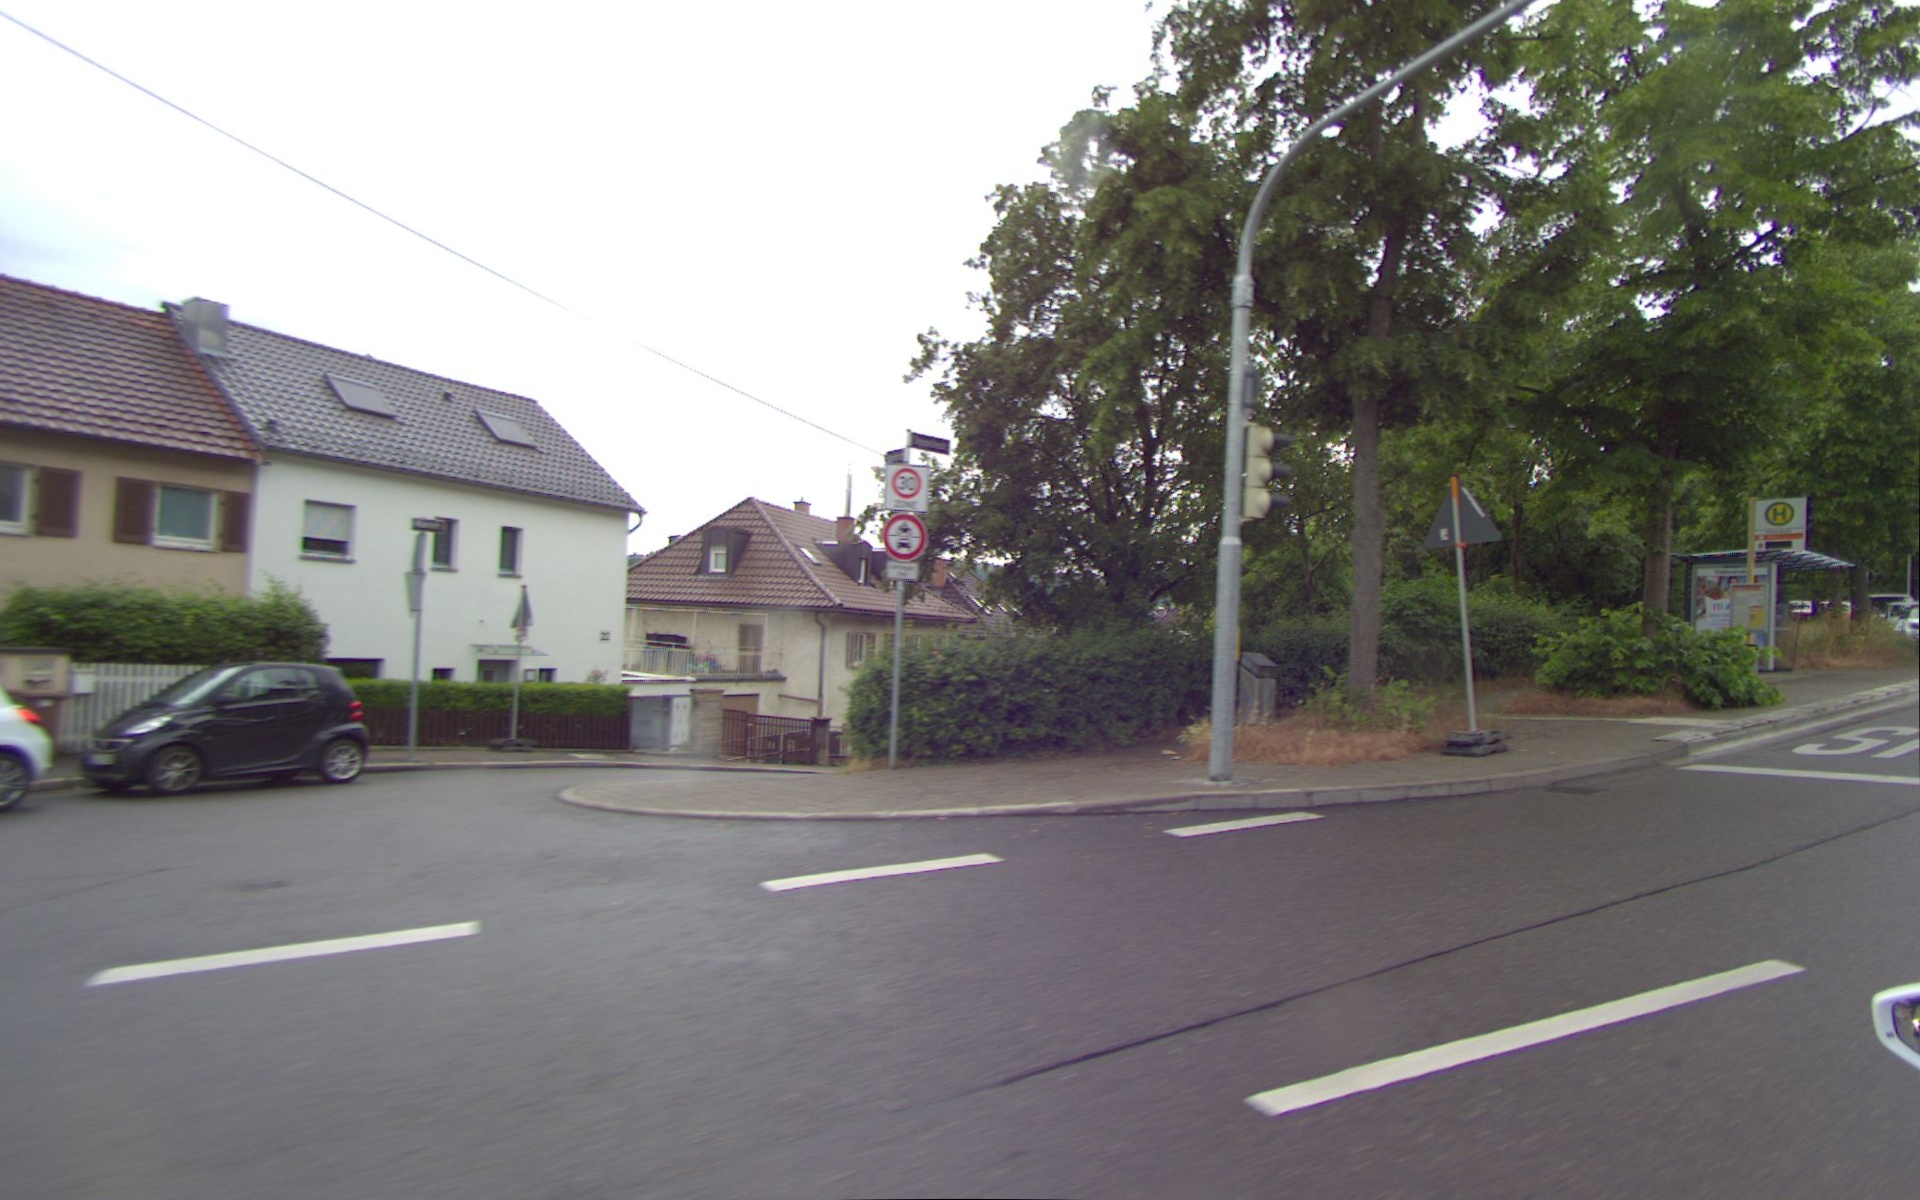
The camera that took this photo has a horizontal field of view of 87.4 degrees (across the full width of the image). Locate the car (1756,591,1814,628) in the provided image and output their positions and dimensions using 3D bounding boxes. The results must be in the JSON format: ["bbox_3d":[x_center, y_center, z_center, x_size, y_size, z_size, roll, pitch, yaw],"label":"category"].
[{"bbox_3d":[48.490,0.546,59.134,1.965,2.040,3.992,-2,-1,30],"label":"car"}]

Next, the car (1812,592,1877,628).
[{"bbox_3d":[46.366,0.515,52.737,1.967,1.750,3.989,-3,-2,33],"label":"car"}]

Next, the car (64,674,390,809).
[{"bbox_3d":[-9.038,1.672,12.584,1.538,1.448,2.913,-3,-5,32],"label":"car"}]

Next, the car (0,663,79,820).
[{"bbox_3d":[-10.632,1.373,8.861,1.656,1.528,4.013,-3,-3,18],"label":"car"}]

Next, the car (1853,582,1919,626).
[{"bbox_3d":[41.679,0.188,45.178,1.813,1.868,3.888,-2,-1,36],"label":"car"}]

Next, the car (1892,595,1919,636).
[{"bbox_3d":[35.205,0.538,36.645,1.655,1.445,3.978,-2,-1,42],"label":"car"}]

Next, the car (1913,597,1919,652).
[{"bbox_3d":[27.433,0.624,27.499,3.970,1.445,1.658,-1,-1,-42],"label":"car"}]

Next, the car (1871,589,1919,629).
[{"bbox_3d":[38.635,0.349,41.065,1.653,1.572,3.887,-2,-1,37],"label":"car"}]
